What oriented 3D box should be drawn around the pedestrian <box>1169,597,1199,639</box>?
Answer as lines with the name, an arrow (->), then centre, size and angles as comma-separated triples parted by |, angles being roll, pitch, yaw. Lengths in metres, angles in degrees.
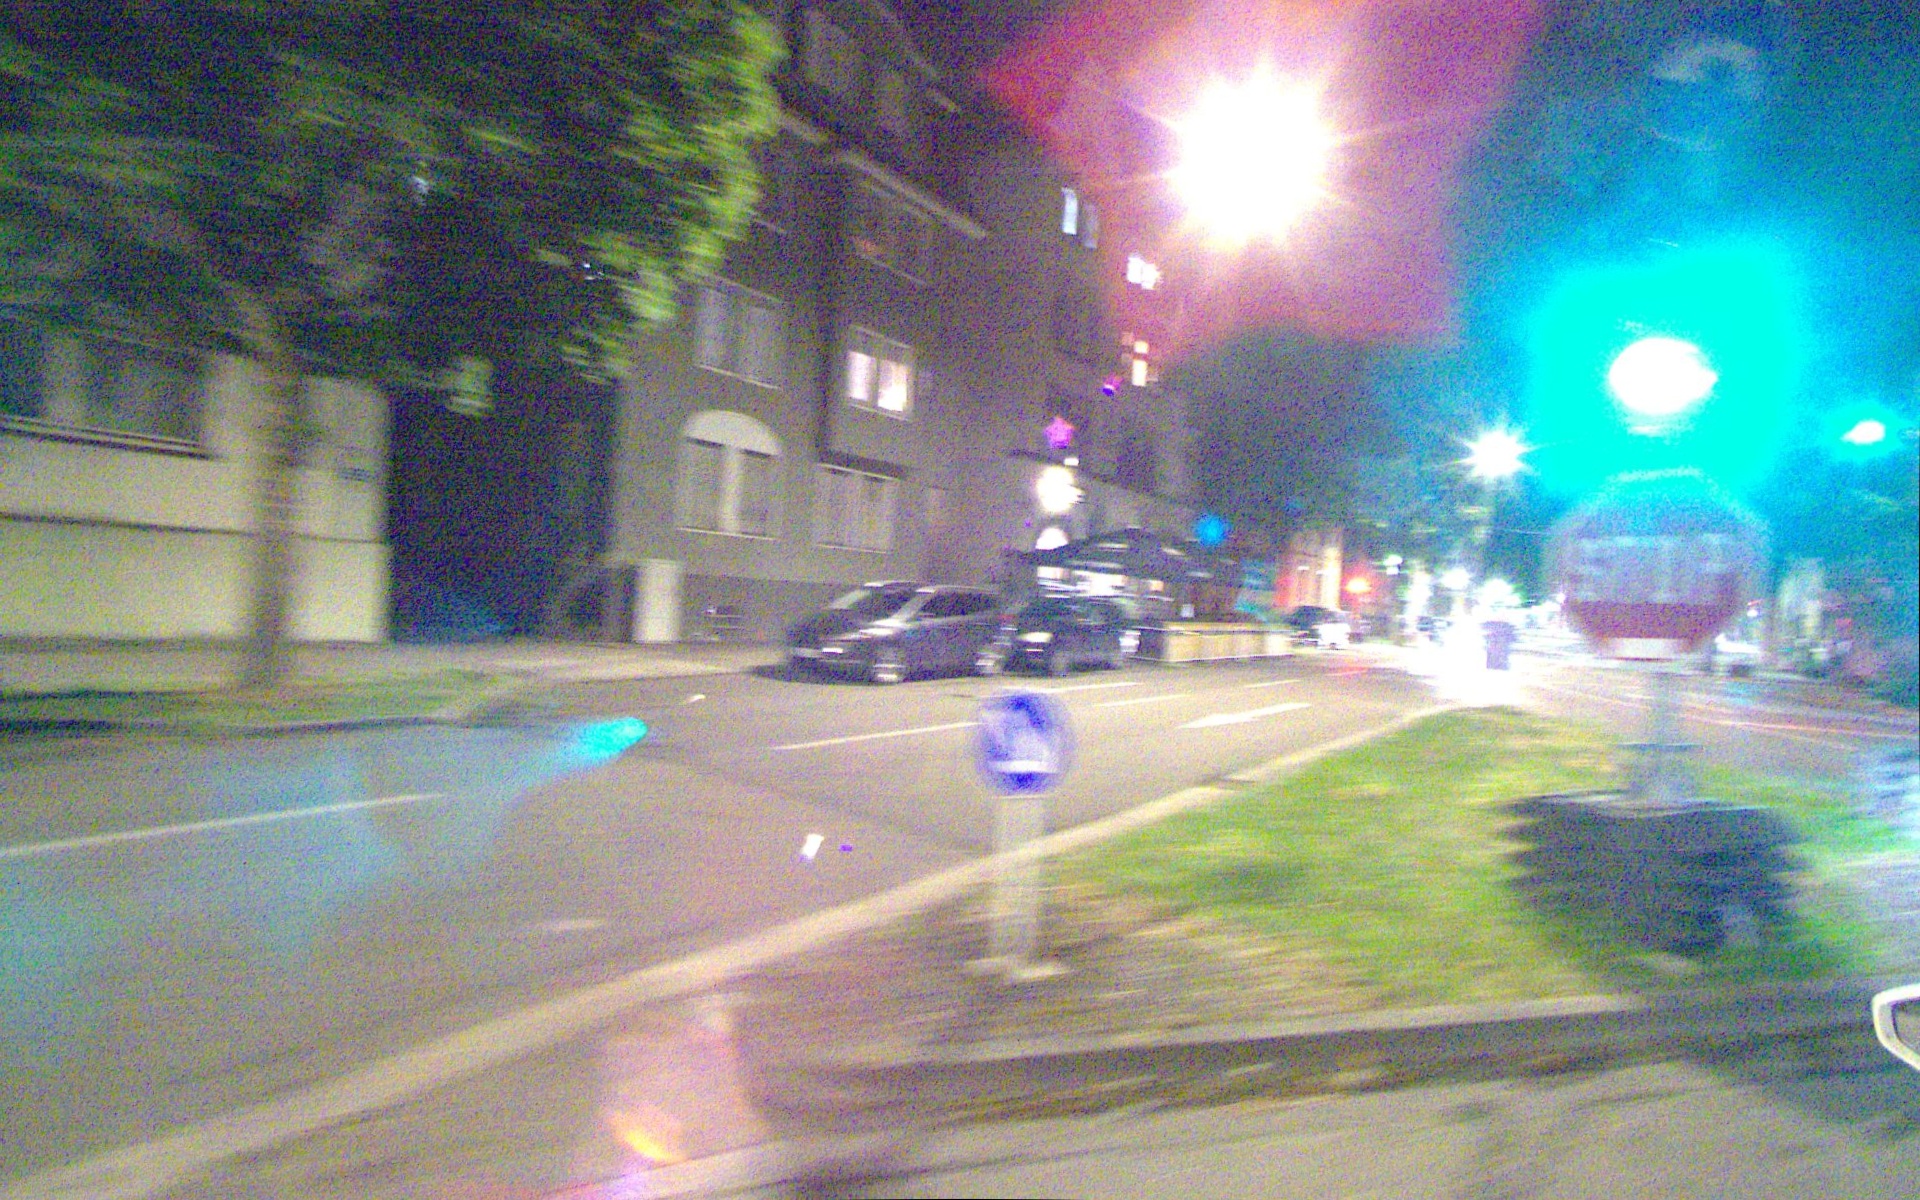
pedestrian -> 9.361, 0.750, 42.024 | 0.991, 1.713, 0.702 | 2, 1, -45

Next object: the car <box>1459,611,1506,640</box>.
car -> 27.947, 1.362, 53.669 | 1.692, 1.448, 3.987 | 3, 0, 35

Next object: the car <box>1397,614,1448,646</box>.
car -> 25.404, 1.655, 55.118 | 1.573, 1.511, 3.683 | 8, 3, 39

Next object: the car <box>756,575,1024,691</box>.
car -> -0.957, 0.504, 16.176 | 1.836, 1.498, 4.459 | 5, 1, 35

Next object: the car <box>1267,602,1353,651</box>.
car -> 13.334, 1.009, 38.160 | 1.862, 1.617, 4.010 | 6, 2, 36

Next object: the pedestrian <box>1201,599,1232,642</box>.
pedestrian -> 10.670, 0.840, 41.725 | 1.117, 1.713, 0.702 | 2, 1, -45

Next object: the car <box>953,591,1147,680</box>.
car -> 1.933, 0.692, 20.224 | 1.836, 1.452, 4.429 | 6, 2, 35

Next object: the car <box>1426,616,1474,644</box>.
car -> 30.359, 1.851, 62.147 | 1.762, 1.511, 4.313 | 8, 3, 37

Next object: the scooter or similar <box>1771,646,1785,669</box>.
scooter or similar -> 41.820, 2.944, 51.322 | 0.417, 1.145, 1.485 | 4, 1, 42

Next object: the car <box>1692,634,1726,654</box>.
car -> 61.763, 3.601, 82.900 | 1.709, 1.479, 4.718 | 5, 1, 31
